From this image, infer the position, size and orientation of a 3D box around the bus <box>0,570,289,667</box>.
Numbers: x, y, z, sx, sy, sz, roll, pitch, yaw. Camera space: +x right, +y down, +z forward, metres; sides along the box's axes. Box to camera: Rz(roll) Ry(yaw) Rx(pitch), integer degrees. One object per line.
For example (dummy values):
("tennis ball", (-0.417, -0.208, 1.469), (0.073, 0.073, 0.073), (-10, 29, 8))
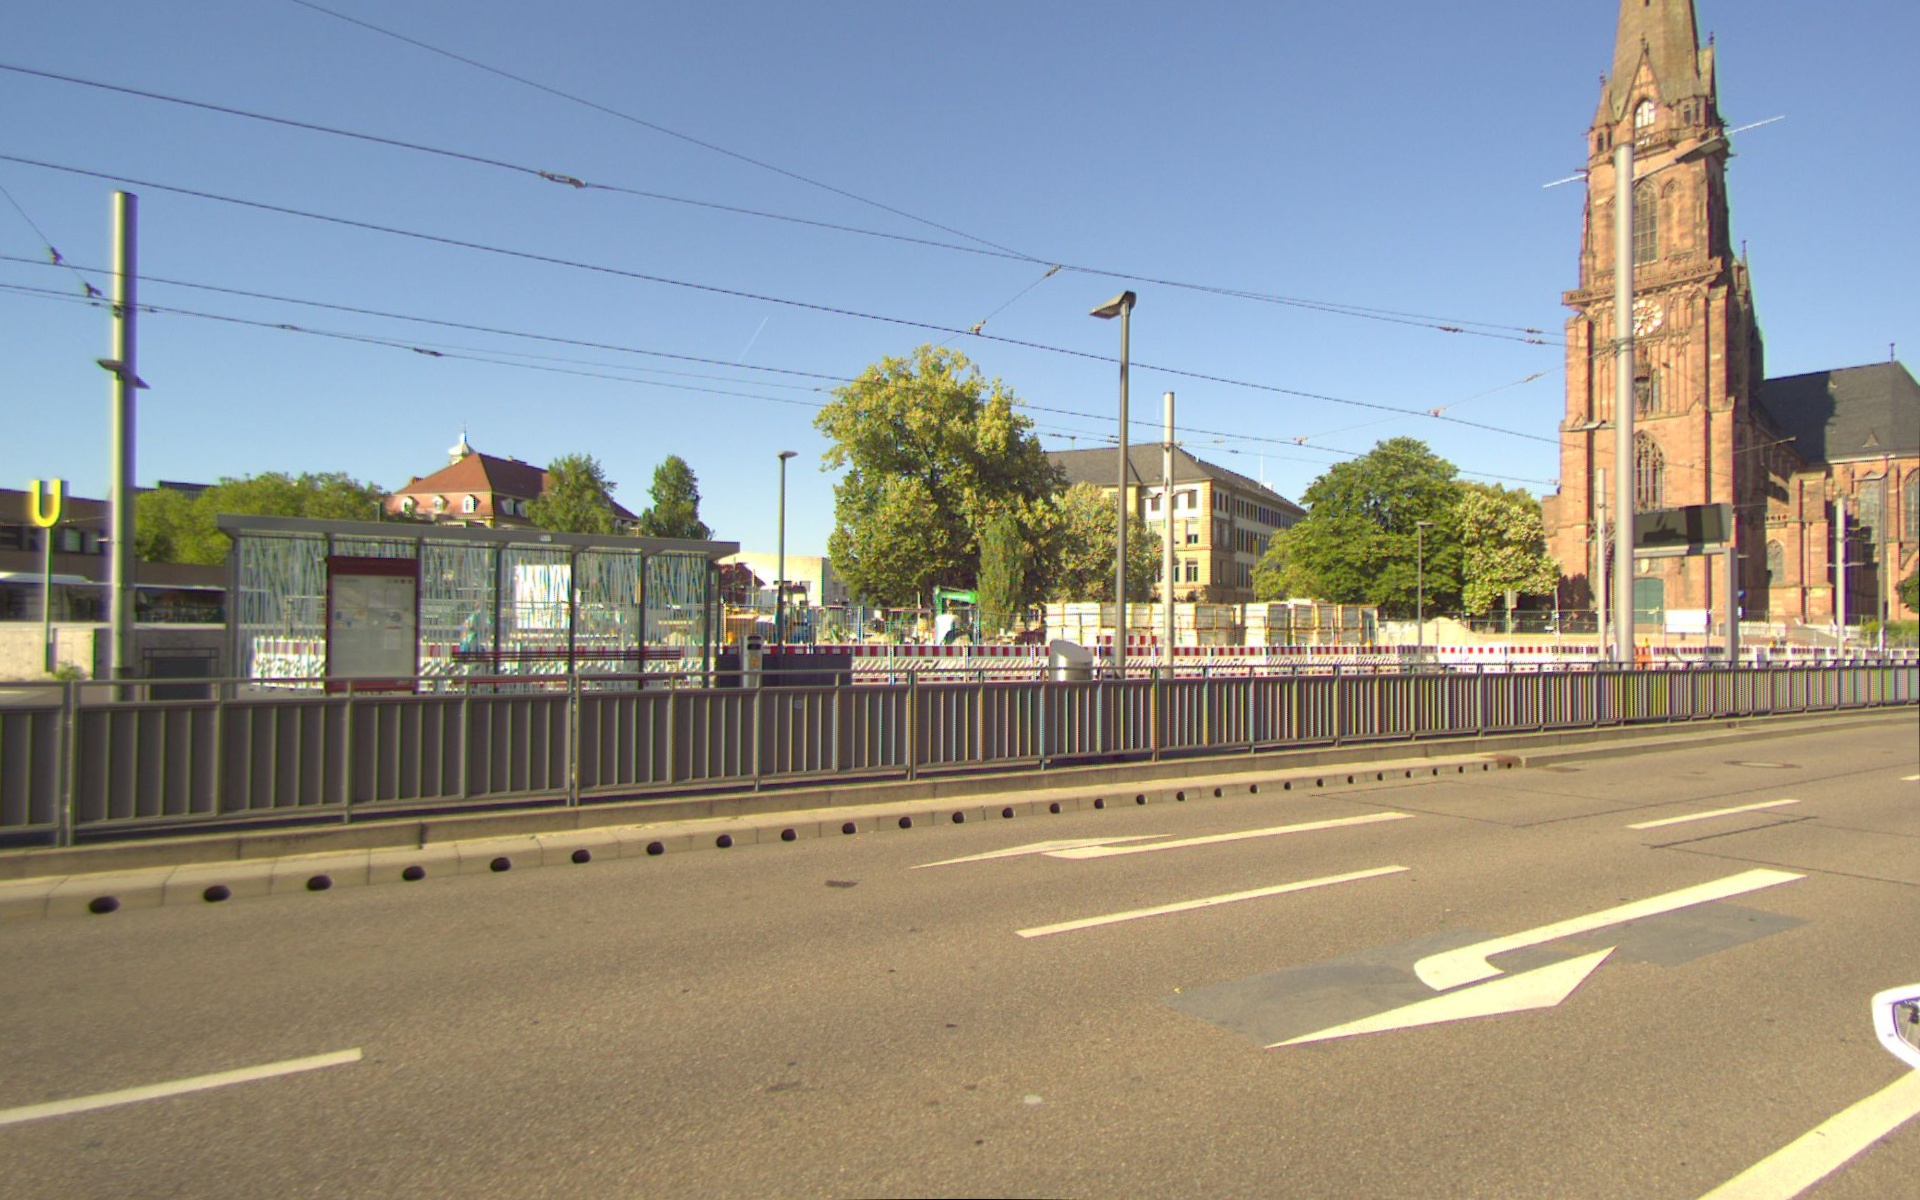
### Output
("bus", (-32.226, 0.738, 38.137), (2.784, 3.236, 12.668), (-3, -1, 13))

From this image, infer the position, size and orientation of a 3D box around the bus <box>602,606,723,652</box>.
("bus", (-23.002, 2.186, 78.835), (3.186, 3.236, 12.668), (-3, -1, 13))

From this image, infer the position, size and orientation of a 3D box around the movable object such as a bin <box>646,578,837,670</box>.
("movable object such as a bin", (-6.590, 0.688, 30.813), (2.597, 2.559, 5.142), (-3, -1, 41))

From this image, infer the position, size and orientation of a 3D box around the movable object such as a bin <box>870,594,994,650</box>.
("movable object such as a bin", (-0.850, 0.678, 31.630), (3.821, 1.608, 1.167), (-2, -1, -32))

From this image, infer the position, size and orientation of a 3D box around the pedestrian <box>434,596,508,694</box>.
("pedestrian", (-9.382, 0.854, 19.262), (1.166, 1.792, 0.798), (-2, -1, -31))
